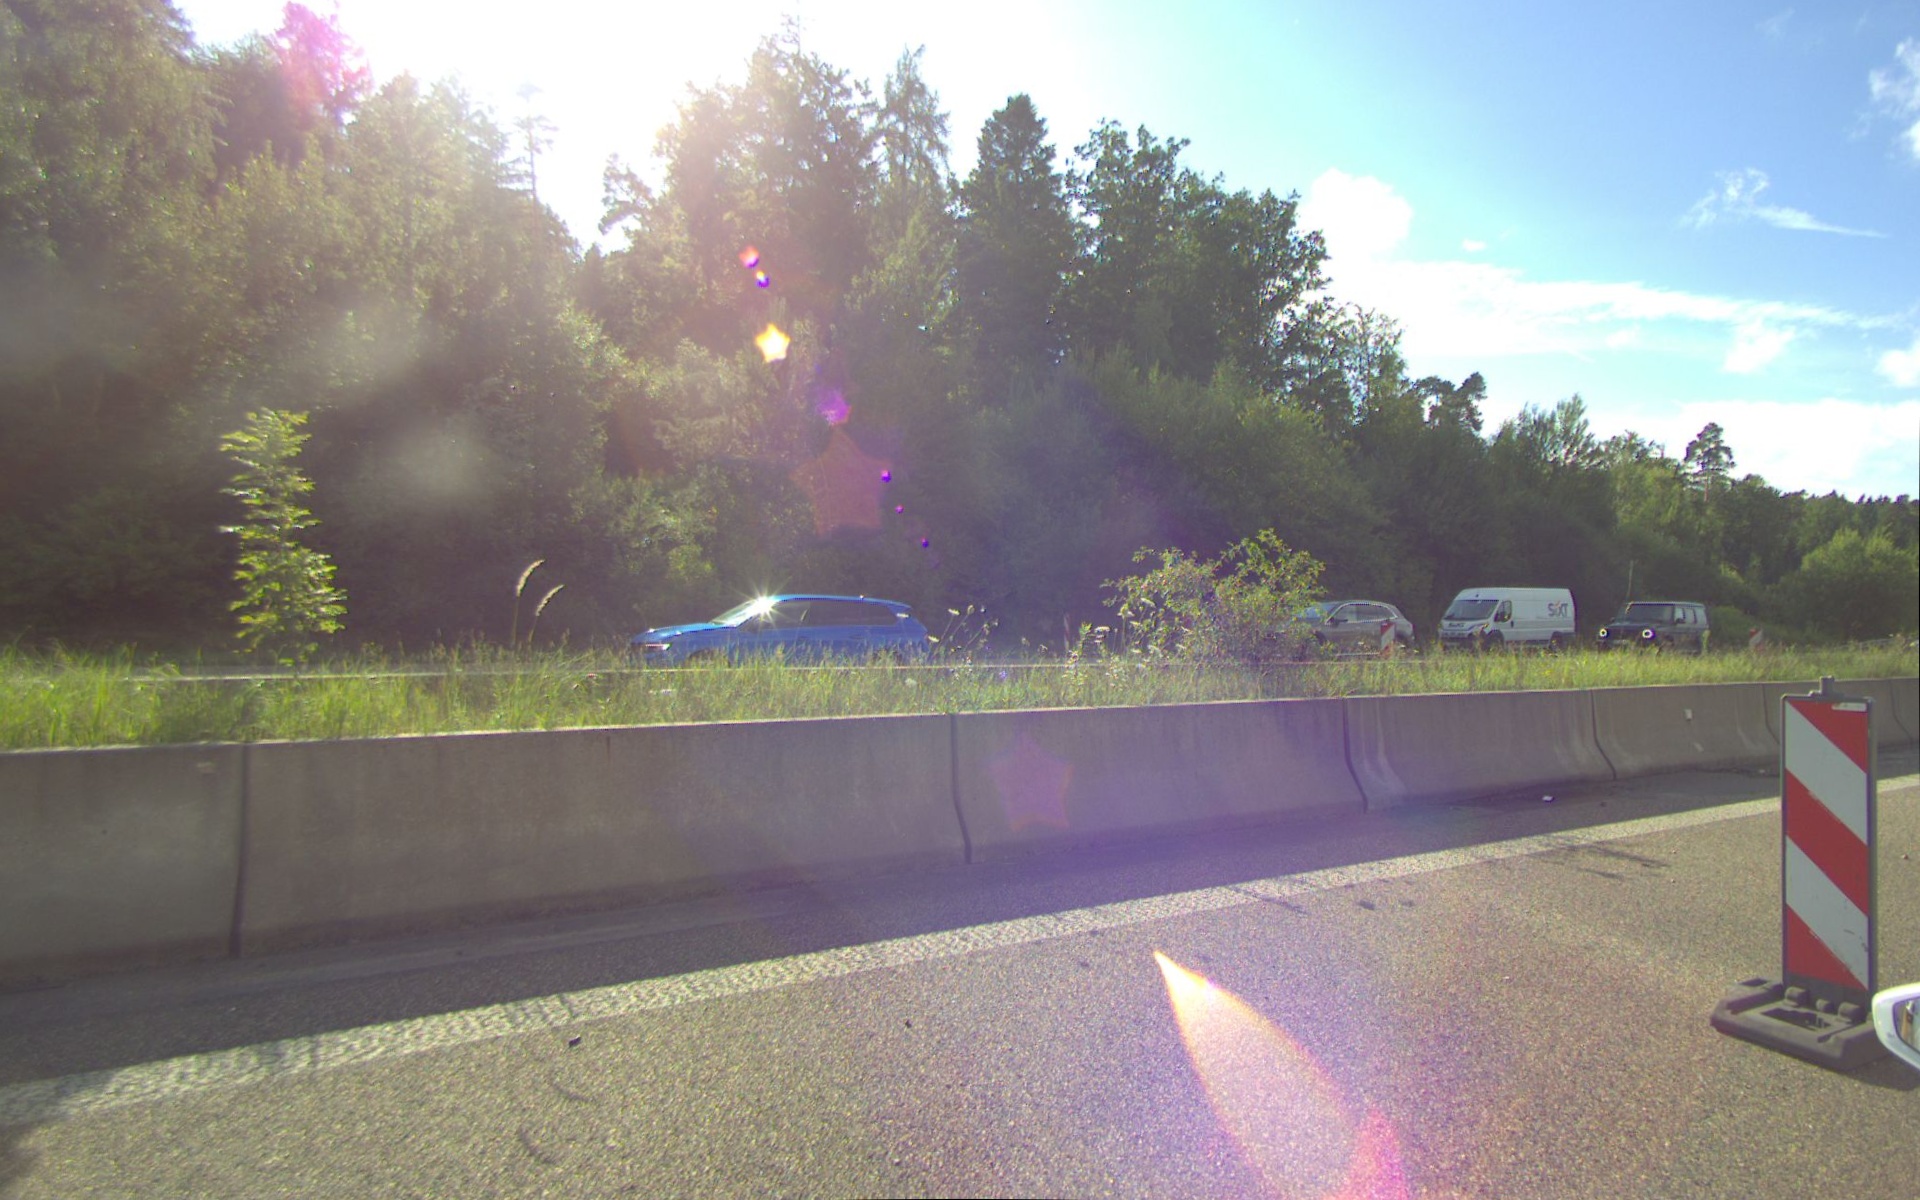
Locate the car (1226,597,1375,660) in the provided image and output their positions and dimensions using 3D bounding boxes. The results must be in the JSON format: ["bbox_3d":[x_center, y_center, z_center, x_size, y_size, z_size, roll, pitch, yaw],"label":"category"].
[{"bbox_3d":[10.908,0.911,32.094,4.706,1.878,1.851,2,0,-30],"label":"car"}]

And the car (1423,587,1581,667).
[{"bbox_3d":[19.877,1.001,36.734,6.447,2.720,2.018,2,0,-30],"label":"car"}]

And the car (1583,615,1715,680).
[{"bbox_3d":[22.427,1.528,32.654,4.563,1.928,1.769,2,0,-30],"label":"car"}]

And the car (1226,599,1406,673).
[{"bbox_3d":[9.088,0.917,25.551,4.563,1.711,1.769,2,0,-30],"label":"car"}]

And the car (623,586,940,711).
[{"bbox_3d":[-2.597,0.682,14.877,4.261,1.624,1.769,2,0,-30],"label":"car"}]
